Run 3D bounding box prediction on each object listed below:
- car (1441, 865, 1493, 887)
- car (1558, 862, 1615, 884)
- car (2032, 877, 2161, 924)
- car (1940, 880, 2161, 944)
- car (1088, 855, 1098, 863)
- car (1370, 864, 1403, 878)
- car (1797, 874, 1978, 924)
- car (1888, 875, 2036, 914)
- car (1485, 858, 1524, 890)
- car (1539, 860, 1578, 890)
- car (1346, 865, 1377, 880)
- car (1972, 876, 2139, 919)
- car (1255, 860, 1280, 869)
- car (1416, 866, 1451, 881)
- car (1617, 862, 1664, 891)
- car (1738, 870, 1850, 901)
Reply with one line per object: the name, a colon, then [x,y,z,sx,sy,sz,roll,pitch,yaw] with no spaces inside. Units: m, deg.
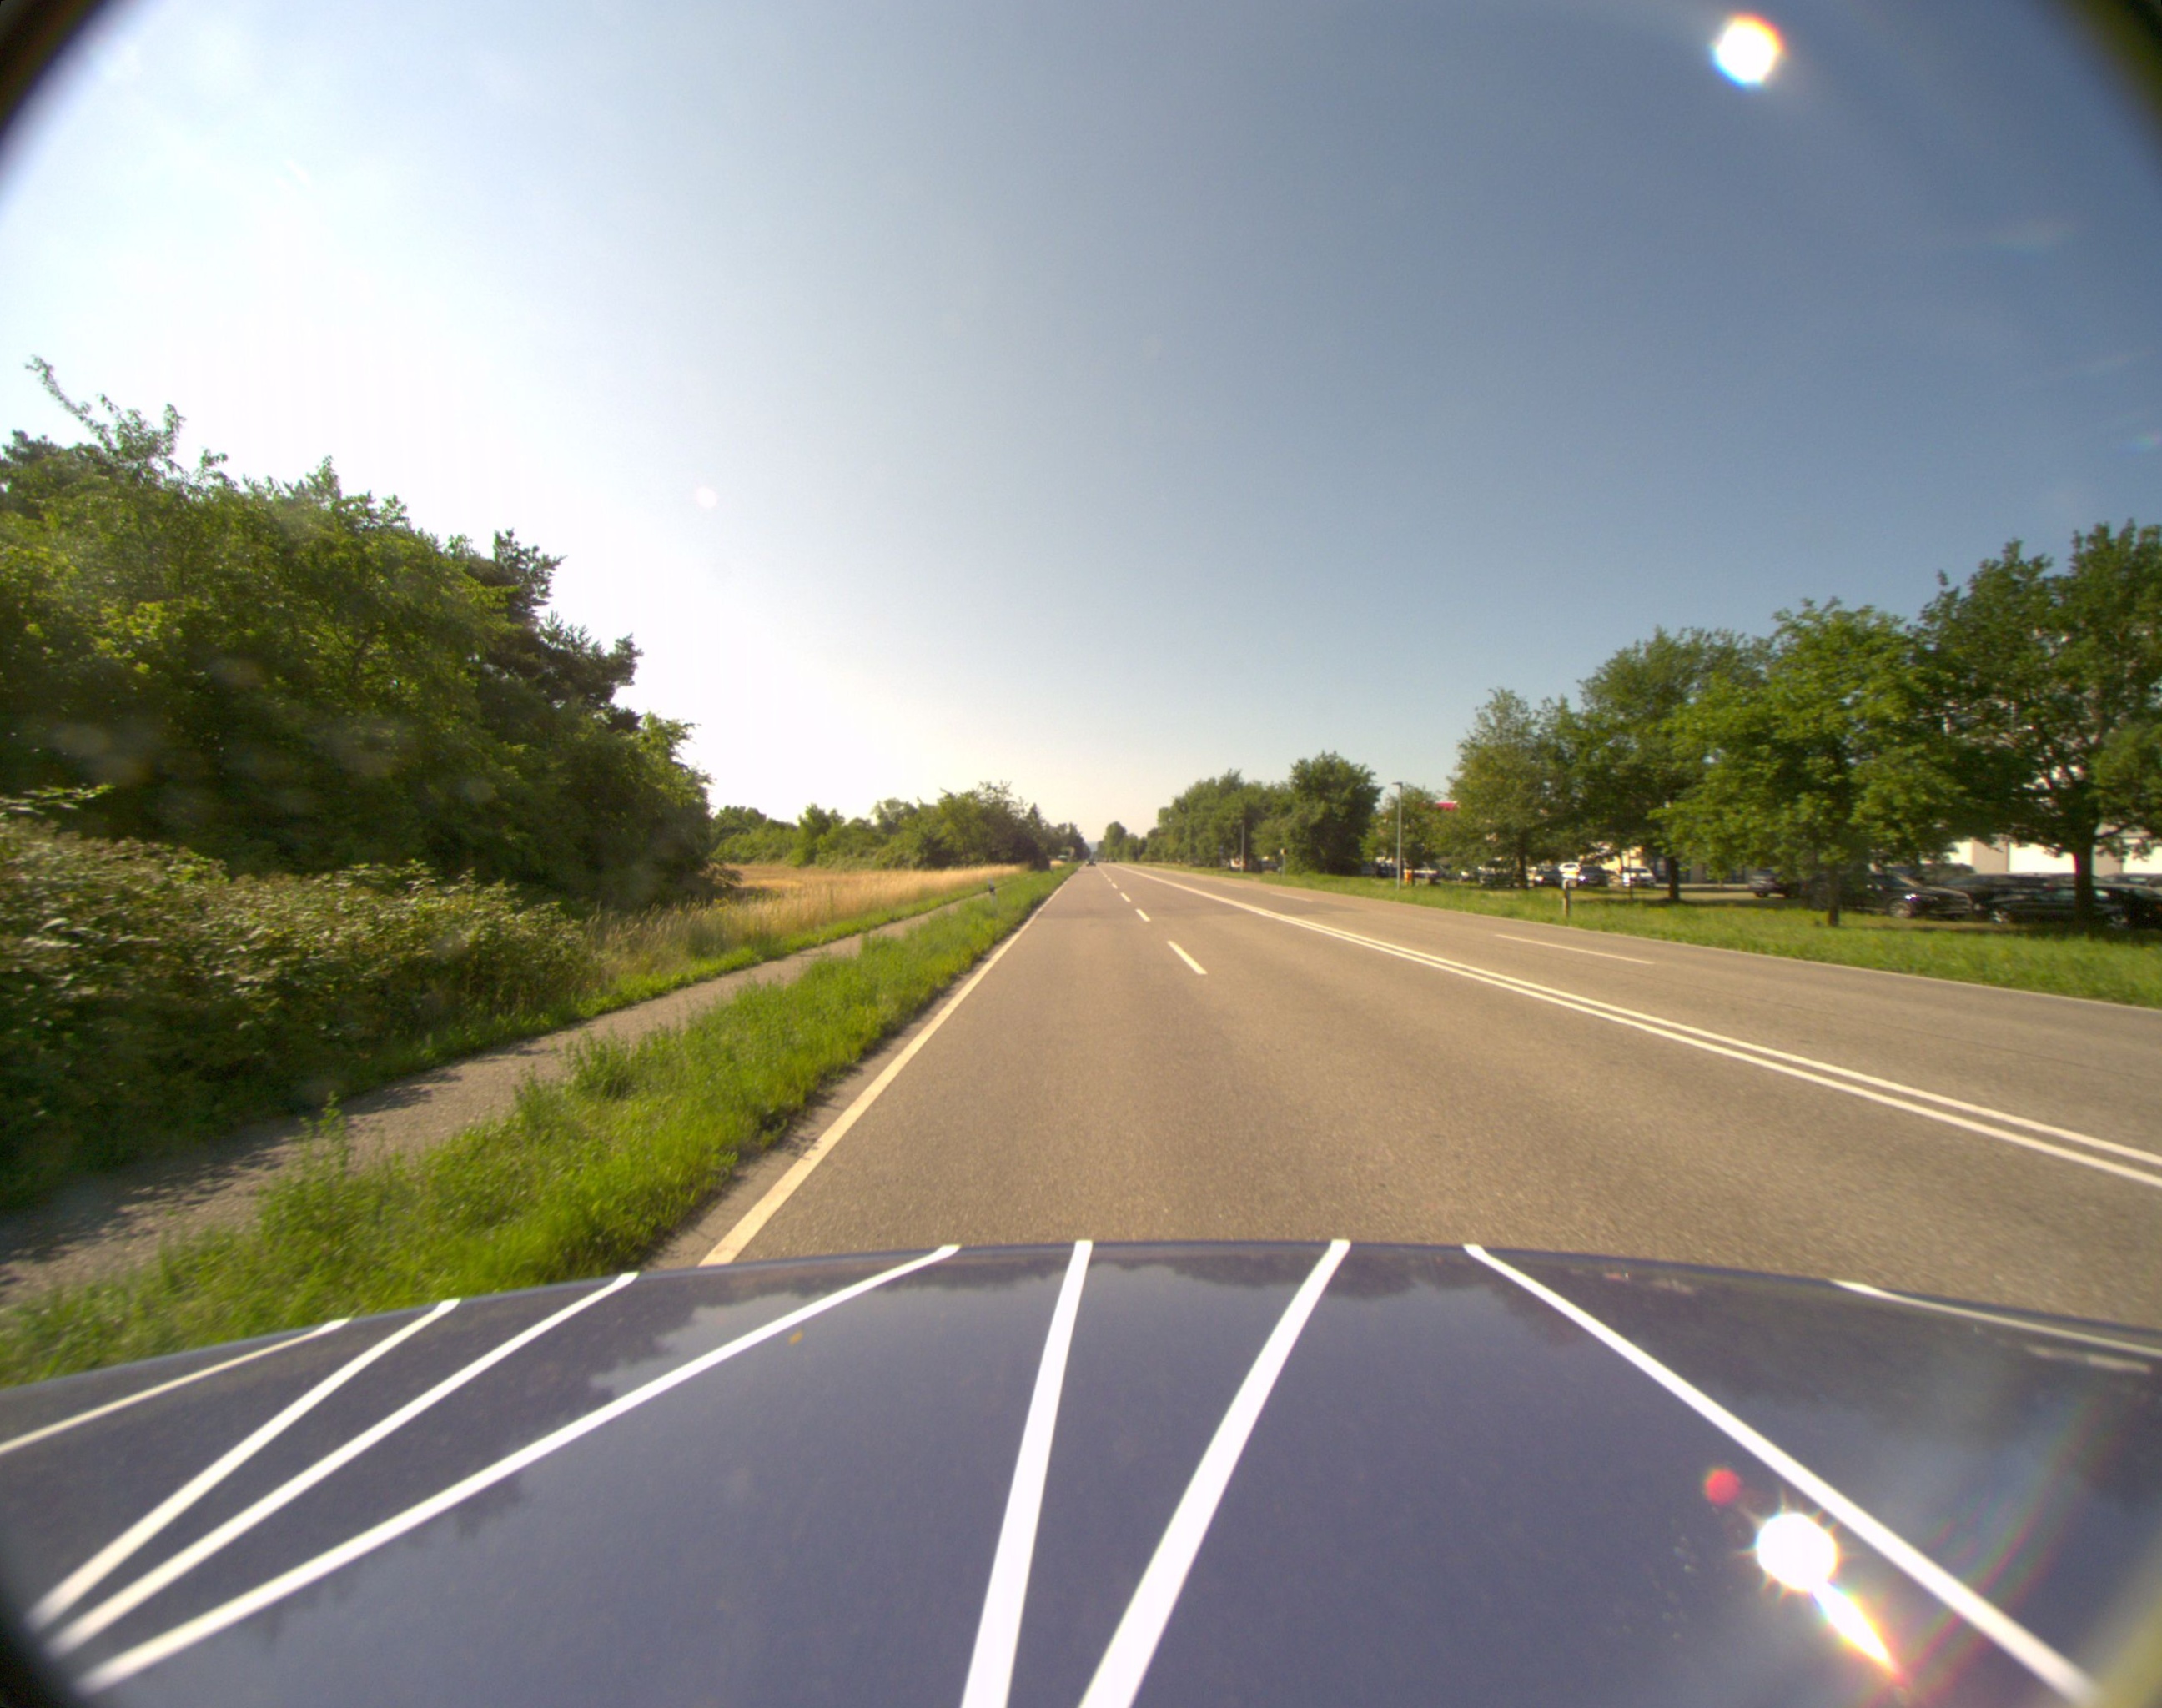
car: [30.545,1.686,60.248,1.934,1.642,4.191,0,0,-1]
car: [41.053,1.519,61.820,1.861,1.648,4.169,0,0,1]
car: [36.408,1.601,26.564,3.997,1.527,1.888,0,0,0]
car: [29.049,1.631,22.647,1.747,1.569,4.549,0,0,1]
car: [2.284,0.933,140.753,1.768,1.403,4.001,0,-1,2]
car: [30.502,1.690,75.950,1.676,1.342,4.000,0,0,1]
car: [28.965,1.553,27.534,1.747,1.569,4.549,0,0,1]
car: [36.780,1.684,31.799,3.997,1.527,1.888,0,0,0]
car: [28.169,1.275,50.432,2.068,1.918,5.026,0,0,31]
car: [31.497,1.352,50.236,2.068,1.796,5.026,0,0,31]
car: [27.813,1.840,75.481,1.676,1.342,4.000,0,0,1]
car: [37.150,1.632,29.043,3.997,1.527,1.888,0,0,0]
car: [32.331,1.762,131.759,3.997,1.492,1.758,0,0,0]
car: [34.751,1.879,75.045,1.676,1.342,4.000,0,0,1]
car: [37.412,1.472,50.921,2.068,1.796,5.026,0,0,31]
car: [36.724,1.612,39.191,3.997,1.527,1.888,0,0,0]
